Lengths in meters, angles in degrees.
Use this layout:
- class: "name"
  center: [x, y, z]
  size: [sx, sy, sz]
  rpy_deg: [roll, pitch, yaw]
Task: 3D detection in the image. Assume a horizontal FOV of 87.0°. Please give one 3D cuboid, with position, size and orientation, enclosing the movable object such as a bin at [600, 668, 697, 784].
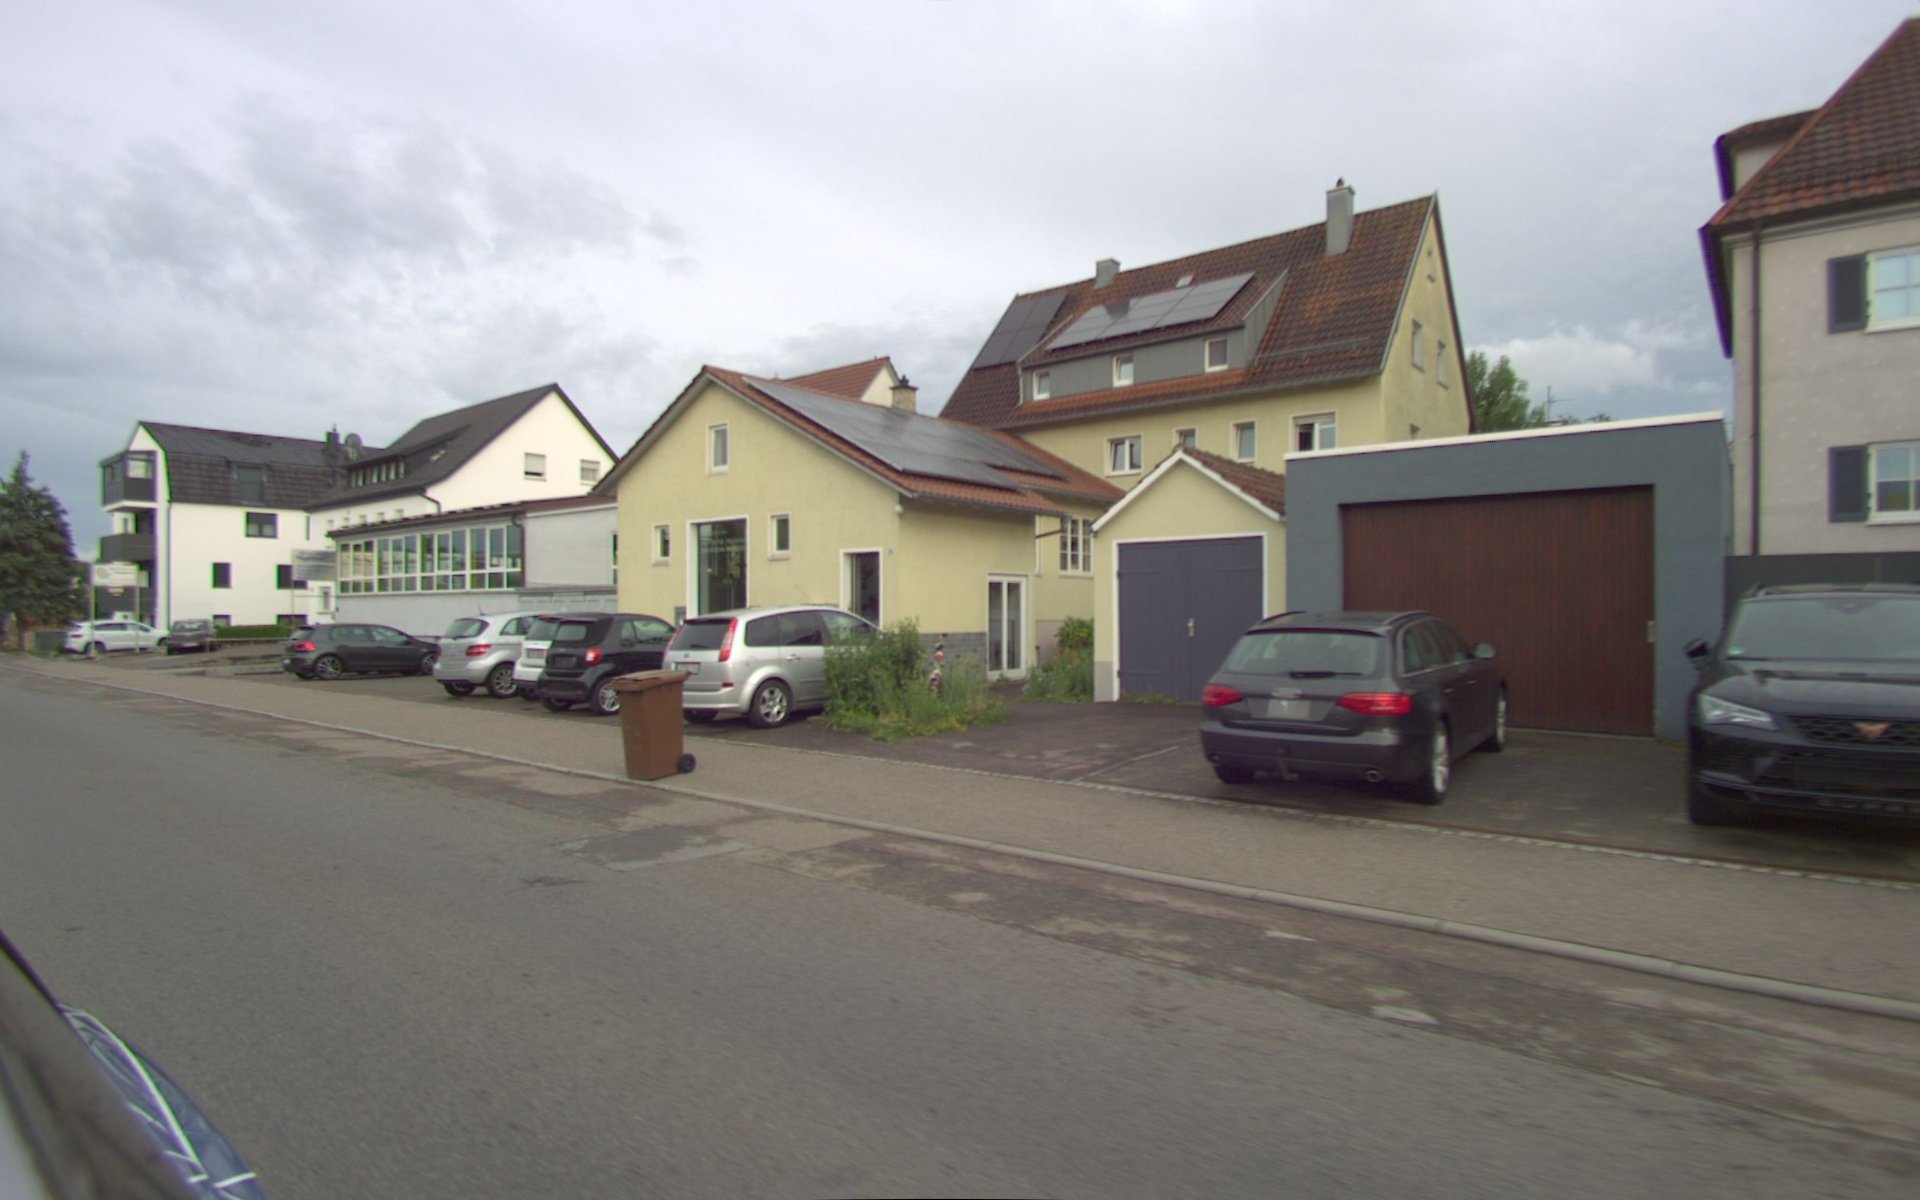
- class: "movable object such as a bin"
  center: [-3.175, 1.264, 10.327]
  size: [0.686, 1.065, 0.590]
  rpy_deg: [-4, 2, 41]

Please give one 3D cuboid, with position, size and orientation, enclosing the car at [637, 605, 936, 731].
- class: "car"
  center: [-2.322, 0.854, 14.461]
  size: [1.880, 1.525, 4.047]
  rpy_deg: [-2, -1, 37]

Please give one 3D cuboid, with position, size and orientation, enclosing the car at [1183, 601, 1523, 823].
- class: "car"
  center: [3.630, 0.769, 8.881]
  size: [1.711, 1.424, 4.046]
  rpy_deg: [-2, 0, 37]

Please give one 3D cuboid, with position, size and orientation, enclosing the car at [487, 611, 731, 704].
- class: "car"
  center: [-6.497, 1.007, 19.110]
  size: [1.810, 1.544, 4.047]
  rpy_deg: [-2, -1, 36]

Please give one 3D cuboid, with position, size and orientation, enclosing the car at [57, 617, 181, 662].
- class: "car"
  center: [-38.462, 1.787, 46.353]
  size: [1.998, 1.659, 3.950]
  rpy_deg: [-2, 2, 38]

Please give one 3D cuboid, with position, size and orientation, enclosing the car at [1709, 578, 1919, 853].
- class: "car"
  center: [6.282, 0.603, 6.936]
  size: [1.753, 1.468, 3.554]
  rpy_deg: [-1, 1, 36]

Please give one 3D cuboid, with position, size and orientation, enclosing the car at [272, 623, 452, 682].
- class: "car"
  center: [-16.054, 1.372, 27.298]
  size: [1.766, 1.449, 3.835]
  rpy_deg: [-2, -2, 39]

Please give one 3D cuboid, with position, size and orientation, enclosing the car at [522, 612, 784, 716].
- class: "car"
  center: [-5.046, 0.990, 17.136]
  size: [1.752, 1.514, 4.049]
  rpy_deg: [-2, -1, 35]

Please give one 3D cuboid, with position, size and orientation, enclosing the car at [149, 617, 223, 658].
- class: "car"
  center: [-33.892, 1.630, 44.285]
  size: [4.000, 1.541, 1.800]
  rpy_deg: [-1, 4, 43]

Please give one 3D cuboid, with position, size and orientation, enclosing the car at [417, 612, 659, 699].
- class: "car"
  center: [-8.313, 1.017, 20.237]
  size: [1.995, 1.544, 4.049]
  rpy_deg: [0, -1, 35]

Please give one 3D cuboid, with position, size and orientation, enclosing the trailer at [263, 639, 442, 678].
- class: "trailer"
  center: [-17.689, 1.670, 29.646]
  size: [1.792, 0.950, 4.157]
  rpy_deg: [-2, -1, 38]

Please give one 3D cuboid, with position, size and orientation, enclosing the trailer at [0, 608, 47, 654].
- class: "trailer"
  center: [-65.518, 2.131, 69.436]
  size: [2.167, 3.069, 4.007]
  rpy_deg: [-1, -1, 41]
